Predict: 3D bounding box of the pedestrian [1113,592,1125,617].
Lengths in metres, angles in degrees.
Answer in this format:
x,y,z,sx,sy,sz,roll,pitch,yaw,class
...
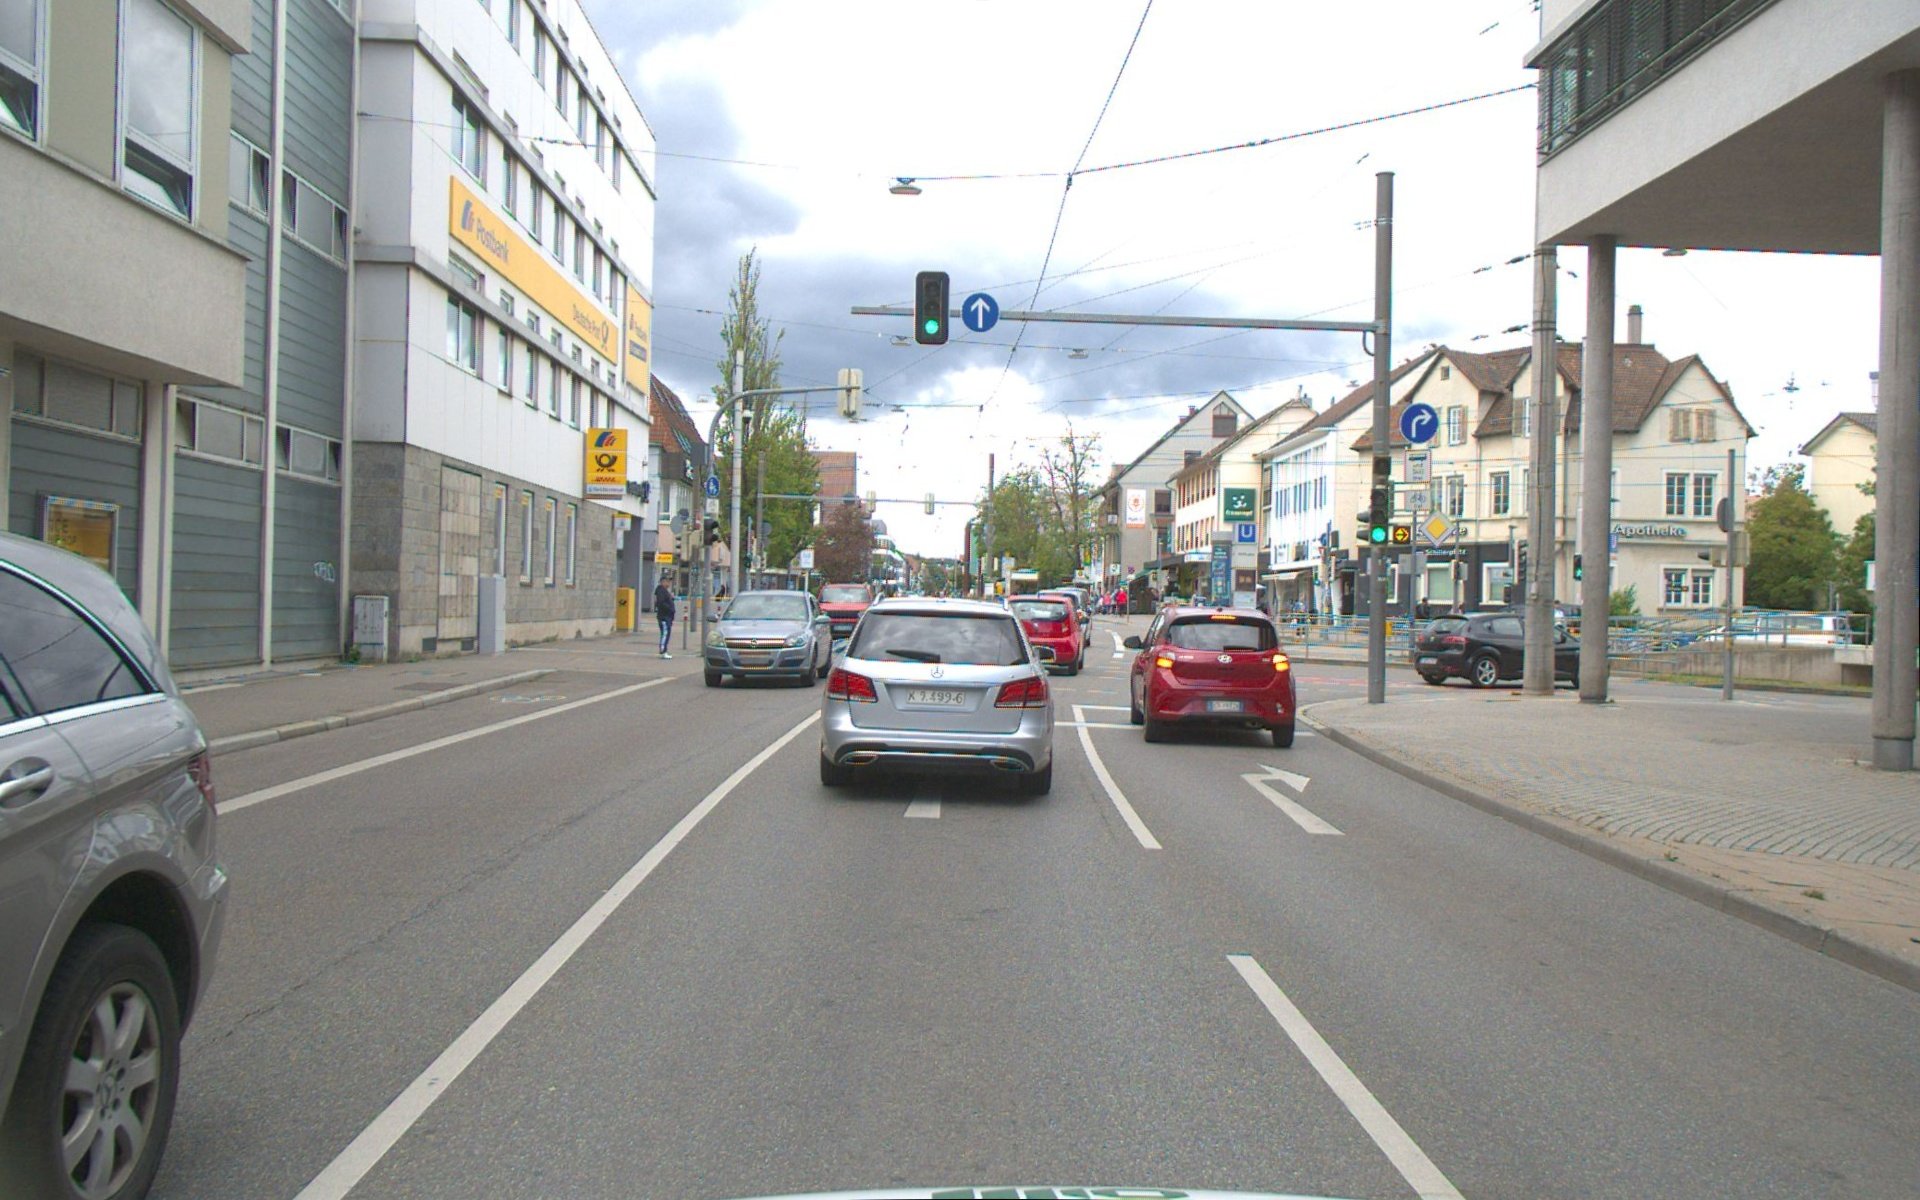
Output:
x,y,z,sx,sy,sz,roll,pitch,yaw,class
9.773,0.285,101.454,0.567,1.495,0.650,2,0,-6,pedestrian

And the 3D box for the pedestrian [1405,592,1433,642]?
x,y,z,sx,sy,sz,roll,pitch,yaw,class
16.140,0.602,58.111,0.691,1.748,0.646,1,0,-19,pedestrian

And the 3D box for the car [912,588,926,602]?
x,y,z,sx,sy,sz,roll,pitch,yaw,class
-6.246,-0.732,251.307,1.953,2.049,3.998,2,0,-2,car

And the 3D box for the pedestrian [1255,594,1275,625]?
x,y,z,sx,sy,sz,roll,pitch,yaw,class
16.632,0.522,90.178,0.631,1.619,0.892,2,0,-21,pedestrian

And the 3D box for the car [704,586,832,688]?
x,y,z,sx,sy,sz,roll,pitch,yaw,class
-2.988,0.541,26.363,1.623,1.492,3.920,0,0,-1,car

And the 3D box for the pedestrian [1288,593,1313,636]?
x,y,z,sx,sy,sz,roll,pitch,yaw,class
13.877,0.578,67.401,0.824,1.748,0.726,1,0,-5,pedestrian

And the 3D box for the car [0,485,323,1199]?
x,y,z,sx,sy,sz,roll,pitch,yaw,class
-2.631,0.616,2.233,1.740,1.660,4.767,0,0,-1,car

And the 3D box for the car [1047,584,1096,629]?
x,y,z,sx,sy,sz,roll,pitch,yaw,class
4.569,0.241,68.253,1.699,1.790,4.000,1,0,0,car

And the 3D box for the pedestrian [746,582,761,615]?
x,y,z,sx,sy,sz,roll,pitch,yaw,class
-10.217,-0.065,81.675,0.623,1.634,0.702,1,0,-14,pedestrian

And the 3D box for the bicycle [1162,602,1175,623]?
x,y,z,sx,sy,sz,roll,pitch,yaw,class
11.545,0.683,91.589,0.439,1.127,2.149,1,0,0,bicycle

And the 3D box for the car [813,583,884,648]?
x,y,z,sx,sy,sz,roll,pitch,yaw,class
-3.076,0.410,46.391,1.763,1.724,3.897,0,0,-1,car

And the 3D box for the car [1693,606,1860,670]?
x,y,z,sx,sy,sz,roll,pitch,yaw,class
27.795,1.260,56.425,1.971,1.952,4.714,3,-1,-40,car

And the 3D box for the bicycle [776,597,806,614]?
x,y,z,sx,sy,sz,roll,pitch,yaw,class
-11.482,0.383,112.407,1.903,1.047,0.529,2,0,-11,bicycle

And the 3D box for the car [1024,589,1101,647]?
x,y,z,sx,sy,sz,roll,pitch,yaw,class
2.833,0.468,46.490,1.700,1.534,3.997,1,0,-3,car

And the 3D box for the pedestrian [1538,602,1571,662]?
x,y,z,sx,sy,sz,roll,pitch,yaw,class
17.567,0.952,48.868,0.699,1.748,0.639,1,0,-44,pedestrian

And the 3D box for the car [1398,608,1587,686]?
x,y,z,sx,sy,sz,roll,pitch,yaw,class
10.674,0.893,33.072,3.960,1.435,1.716,0,1,-39,car

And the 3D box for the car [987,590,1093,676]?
x,y,z,sx,sy,sz,roll,pitch,yaw,class
1.632,0.599,32.659,1.697,1.534,4.003,2,0,8,car

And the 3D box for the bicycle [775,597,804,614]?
x,y,z,sx,sy,sz,roll,pitch,yaw,class
-11.630,0.377,113.063,1.903,1.047,0.529,2,0,-11,bicycle

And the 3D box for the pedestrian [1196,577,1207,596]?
x,y,z,sx,sy,sz,roll,pitch,yaw,class
15.658,-0.873,107.287,0.522,1.240,0.579,2,0,-4,pedestrian

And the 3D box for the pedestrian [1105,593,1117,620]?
x,y,z,sx,sy,sz,roll,pitch,yaw,class
9.577,0.410,104.691,0.567,1.695,0.650,2,0,-9,pedestrian

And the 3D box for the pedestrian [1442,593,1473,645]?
x,y,z,sx,sy,sz,roll,pitch,yaw,class
17.275,0.663,57.463,0.771,1.748,0.649,3,1,-5,pedestrian

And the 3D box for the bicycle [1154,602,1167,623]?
x,y,z,sx,sy,sz,roll,pitch,yaw,class
11.104,0.682,91.579,0.439,1.110,2.149,1,0,0,bicycle

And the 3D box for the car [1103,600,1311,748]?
x,y,z,sx,sy,sz,roll,pitch,yaw,class
2.826,0.798,19.758,1.664,1.477,3.998,3,0,-2,car

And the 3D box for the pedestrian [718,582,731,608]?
x,y,z,sx,sy,sz,roll,pitch,yaw,class
-14.983,-0.315,105.291,0.692,1.634,0.576,1,0,-22,pedestrian

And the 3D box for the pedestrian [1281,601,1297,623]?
x,y,z,sx,sy,sz,roll,pitch,yaw,class
18.432,0.657,92.617,0.722,1.184,0.642,2,0,-4,pedestrian

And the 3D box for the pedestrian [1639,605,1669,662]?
x,y,z,sx,sy,sz,roll,pitch,yaw,class
21.890,1.054,52.152,0.637,1.748,0.786,3,1,38,pedestrian

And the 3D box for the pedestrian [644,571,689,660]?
x,y,z,sx,sy,sz,roll,pitch,yaw,class
-5.908,0.307,33.372,0.634,1.748,0.783,2,0,6,pedestrian

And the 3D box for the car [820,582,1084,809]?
x,y,z,sx,sy,sz,roll,pitch,yaw,class
-0.168,0.673,13.844,1.809,1.534,4.168,3,0,-3,car
